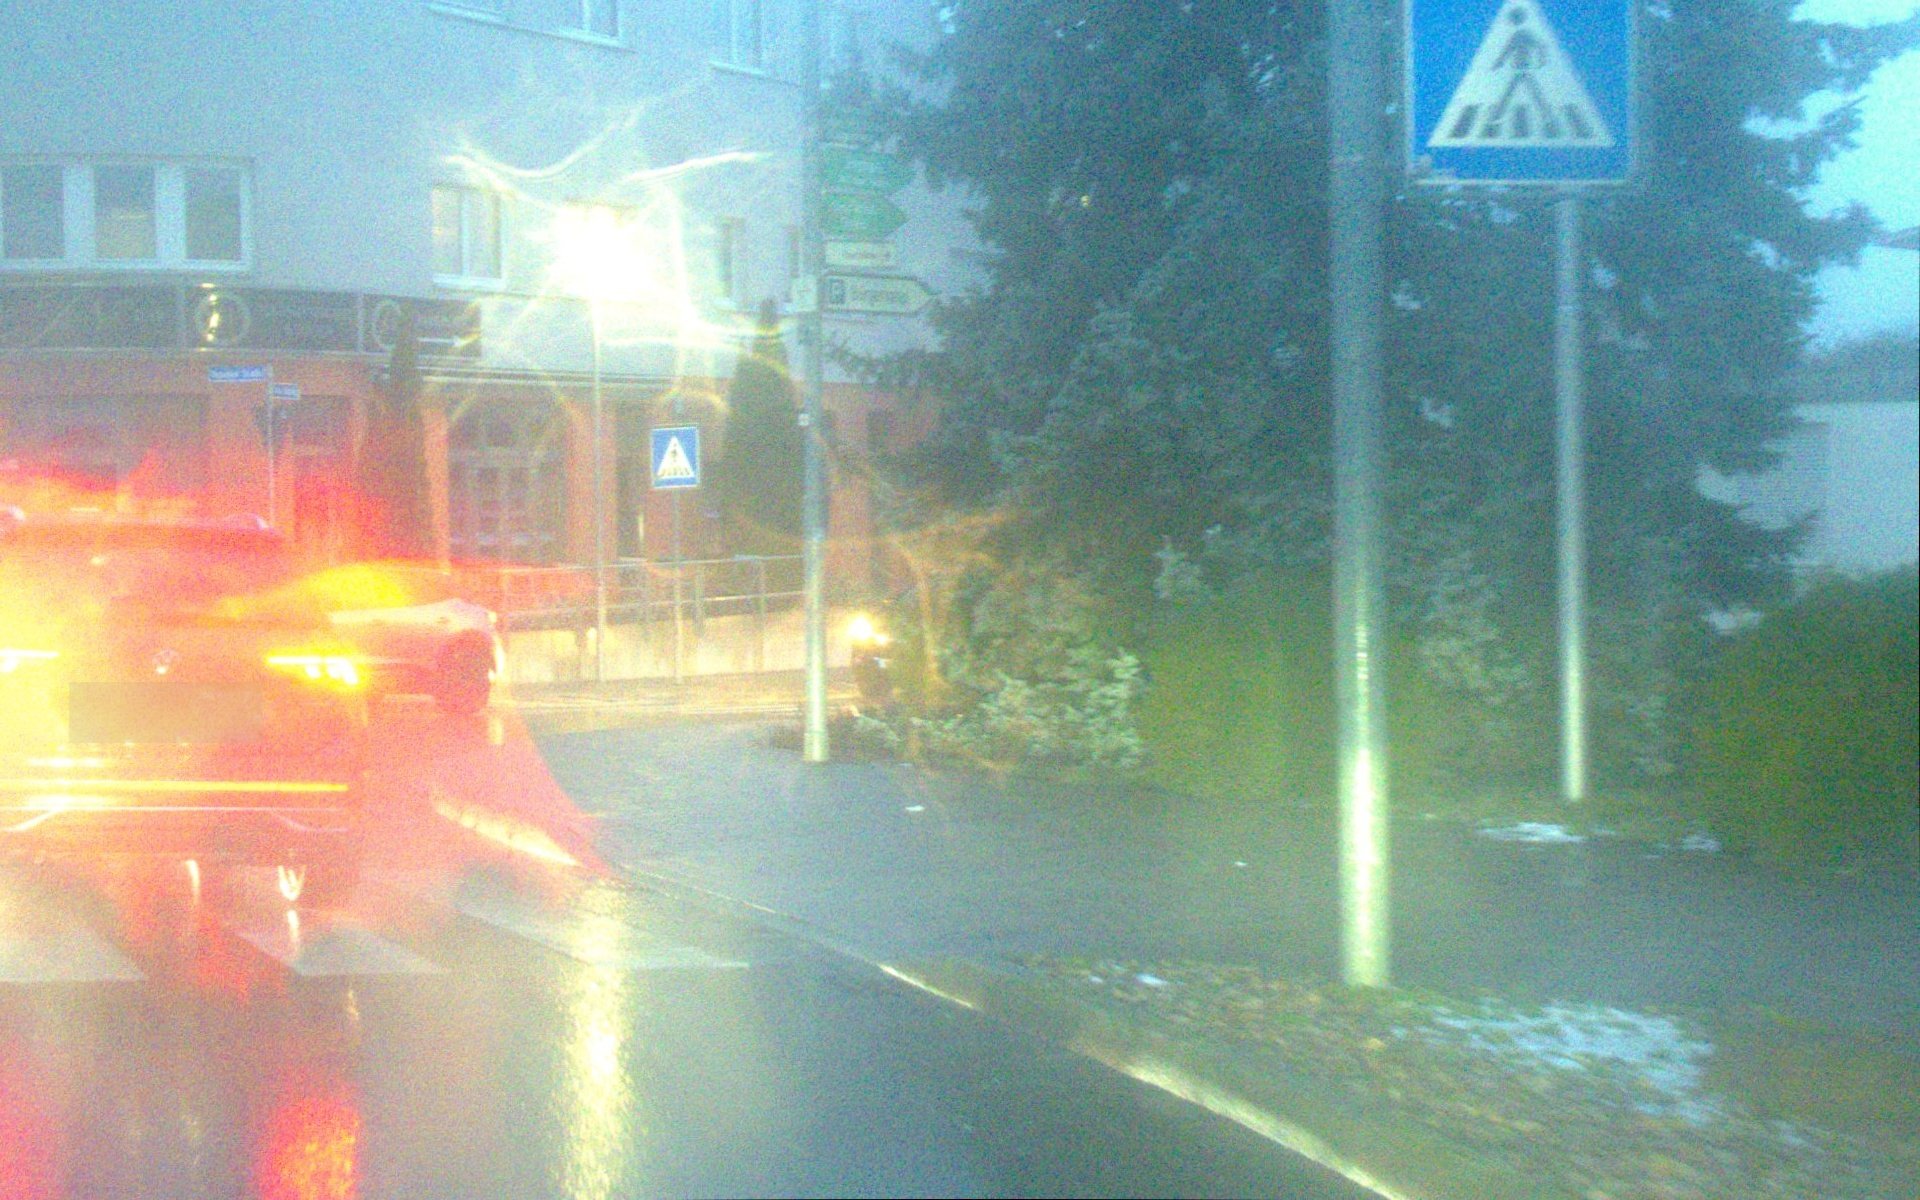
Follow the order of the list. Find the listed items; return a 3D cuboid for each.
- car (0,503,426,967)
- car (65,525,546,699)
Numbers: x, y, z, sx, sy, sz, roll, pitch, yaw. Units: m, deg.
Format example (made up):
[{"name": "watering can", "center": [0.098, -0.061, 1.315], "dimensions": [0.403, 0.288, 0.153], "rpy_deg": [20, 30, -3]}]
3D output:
[{"name": "car", "center": [-3.483, 0.449, 14.922], "dimensions": [1.944, 1.712, 4.001], "rpy_deg": [-1, 2, -14]}, {"name": "car", "center": [-6.381, 0.056, 33.946], "dimensions": [1.906, 1.566, 4.561], "rpy_deg": [2, 2, 37]}]
